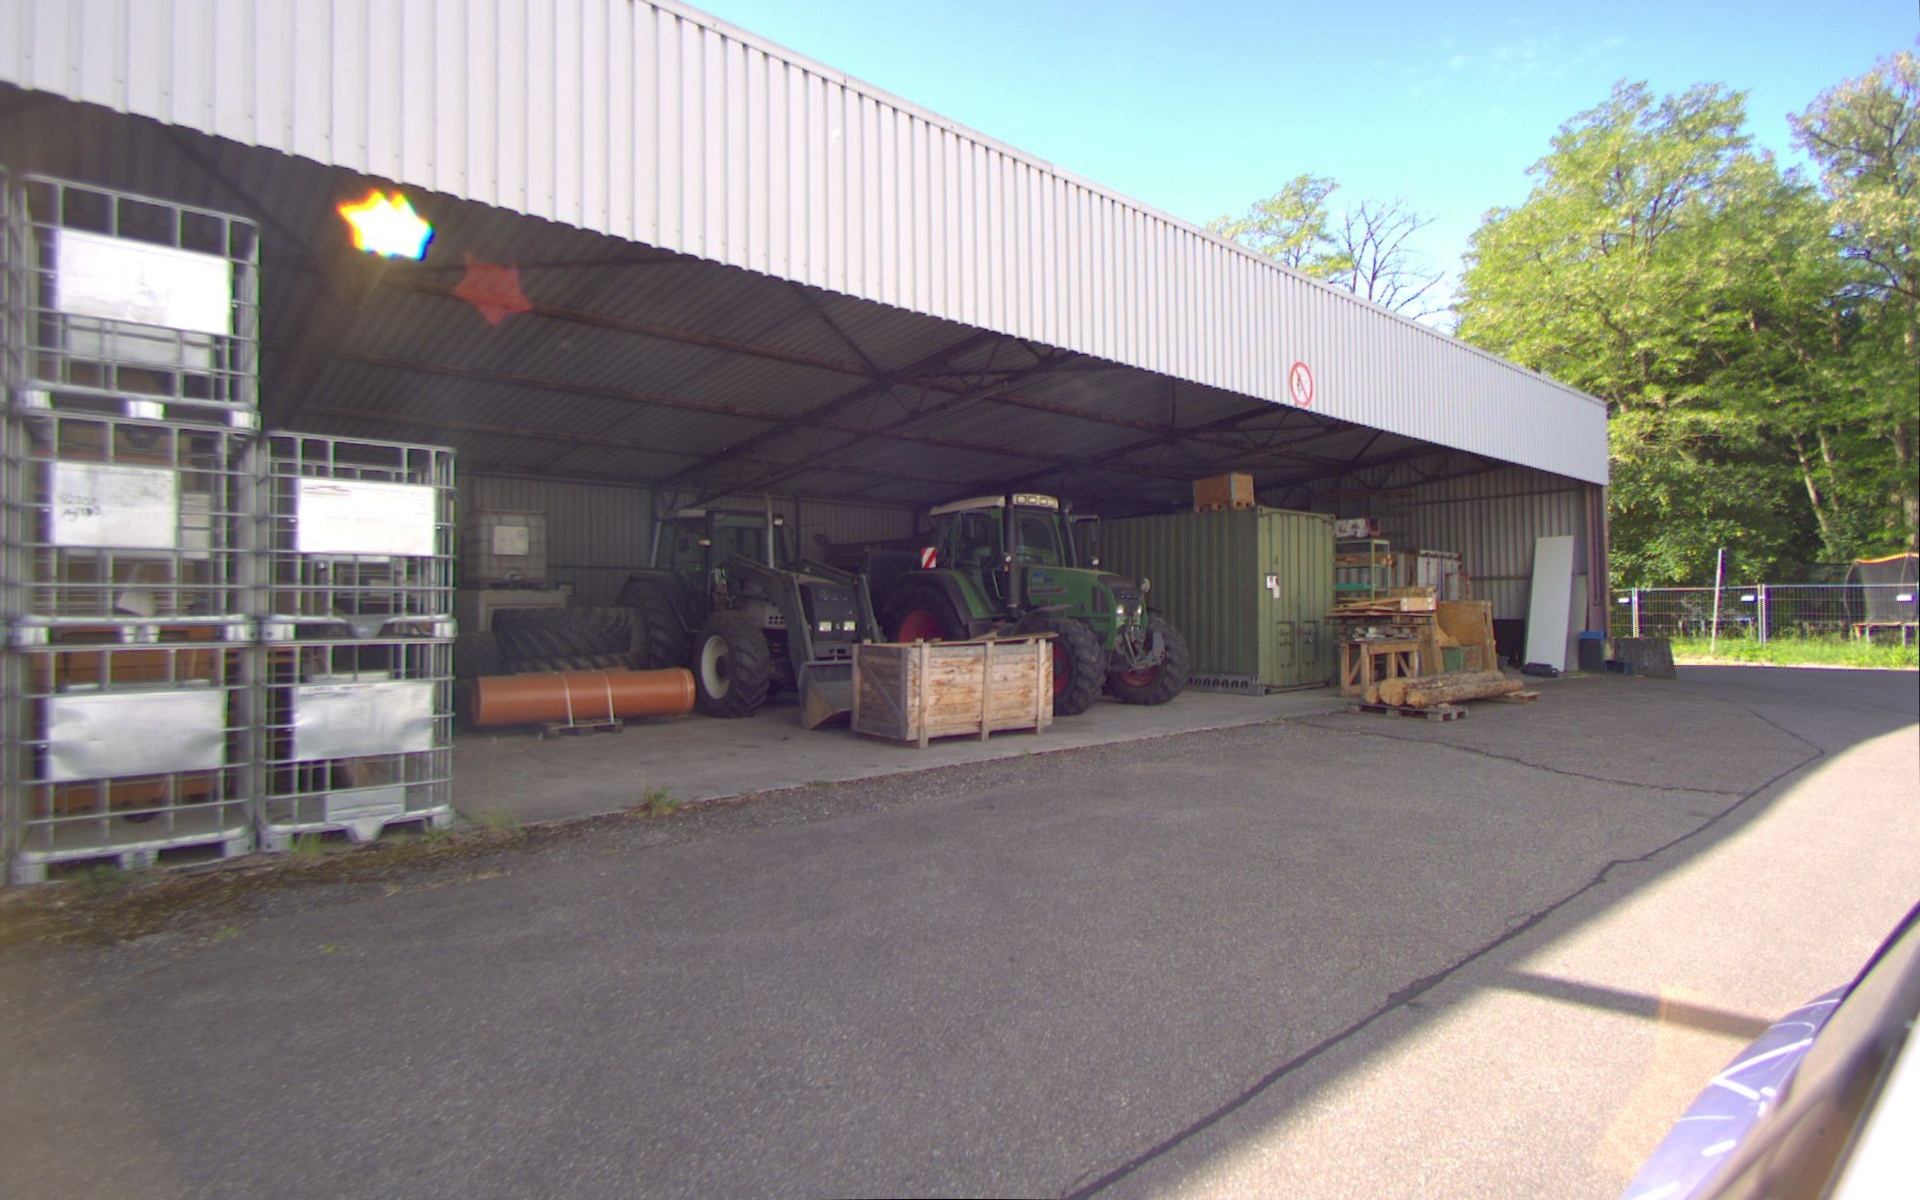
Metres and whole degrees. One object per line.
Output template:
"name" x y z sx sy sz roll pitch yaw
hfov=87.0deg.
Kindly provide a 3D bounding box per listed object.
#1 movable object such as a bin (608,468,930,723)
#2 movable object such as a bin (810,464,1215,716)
"movable object such as a bin" -2.766 -0.029 13.893 2.453 2.867 4.534 1 -1 -40
"movable object such as a bin" 0.511 -0.090 15.013 2.770 2.962 5.844 0 -1 -40
